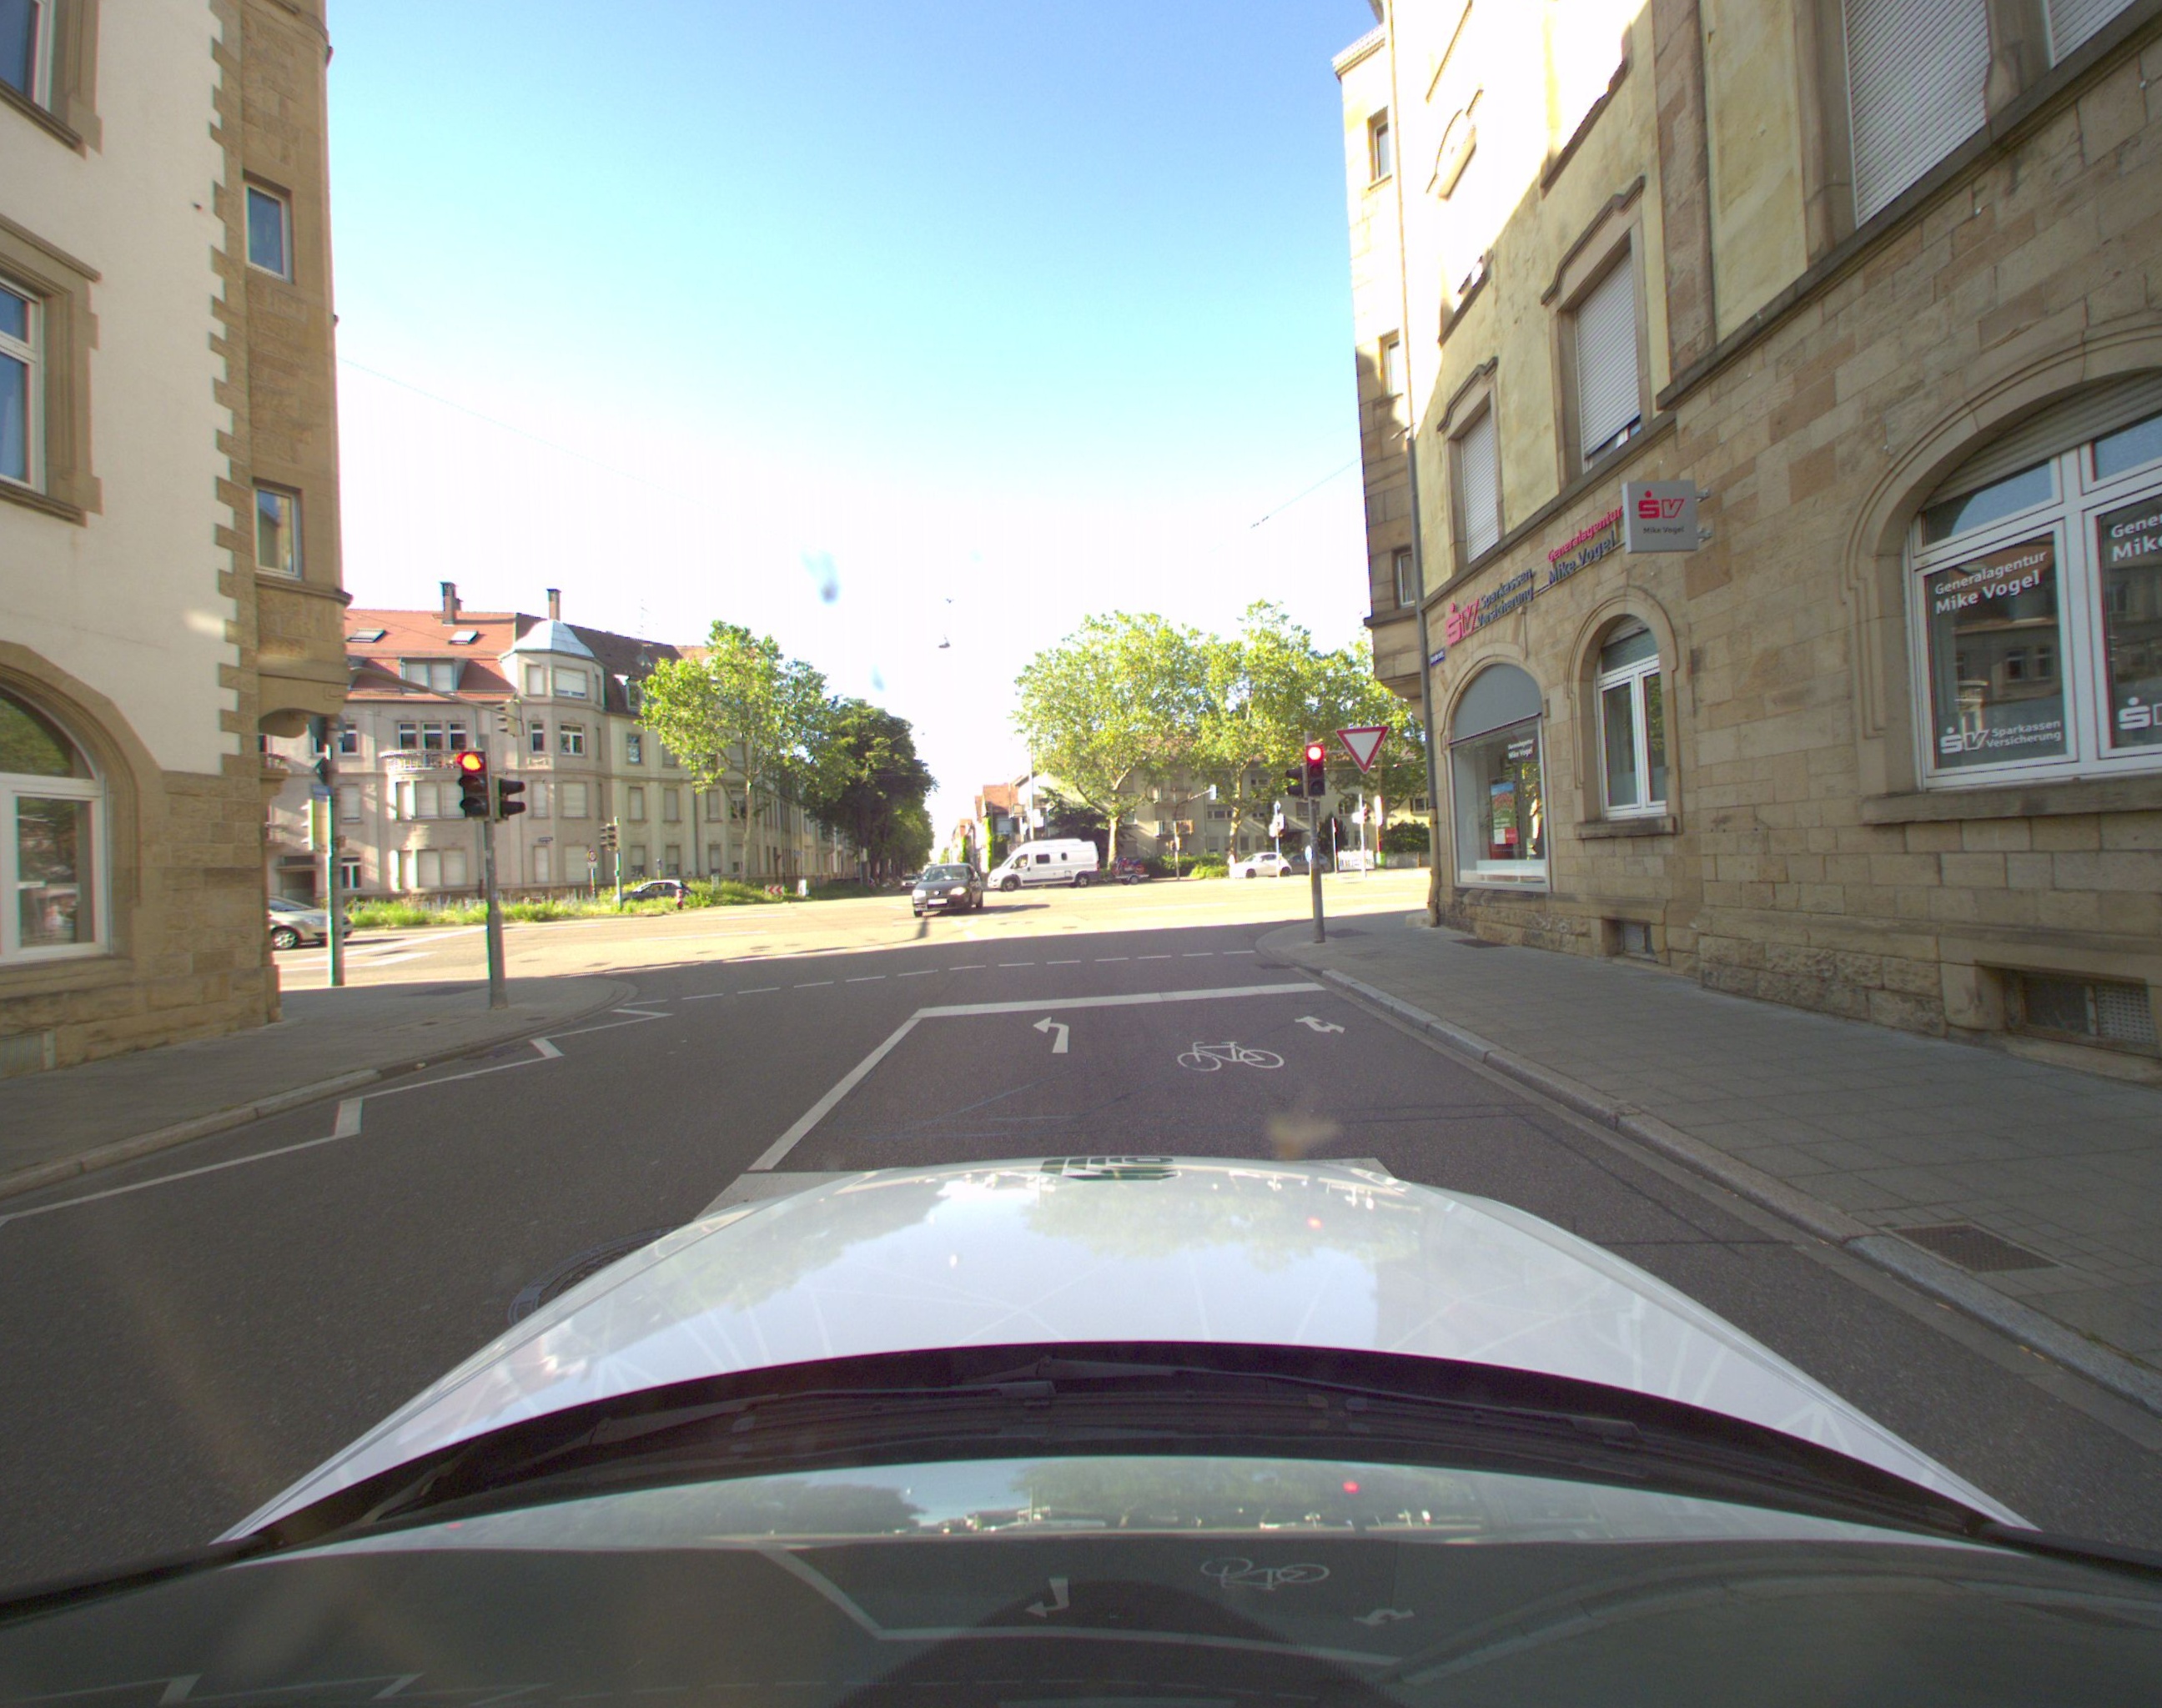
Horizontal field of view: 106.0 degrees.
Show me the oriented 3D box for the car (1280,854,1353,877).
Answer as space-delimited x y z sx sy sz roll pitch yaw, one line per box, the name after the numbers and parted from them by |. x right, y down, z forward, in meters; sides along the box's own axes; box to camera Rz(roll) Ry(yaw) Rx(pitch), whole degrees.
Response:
15.276 0.731 52.844 4.399 1.316 1.636 -2 0 -18 | car

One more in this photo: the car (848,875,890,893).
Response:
-19.428 2.744 74.891 3.636 1.457 1.650 -2 0 -14 | car

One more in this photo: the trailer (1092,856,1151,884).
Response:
2.272 0.902 45.960 2.955 1.457 1.505 -2 0 -18 | trailer

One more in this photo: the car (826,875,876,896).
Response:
-17.952 2.472 63.709 3.636 1.457 1.650 -2 0 -14 | car

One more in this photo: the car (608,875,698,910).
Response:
-21.002 1.875 40.115 3.643 1.457 1.646 -2 0 -20 | car

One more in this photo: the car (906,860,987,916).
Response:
-3.880 0.940 24.060 1.646 1.457 3.644 -2 0 1 | car

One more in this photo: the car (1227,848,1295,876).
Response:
10.605 0.479 48.114 3.641 1.457 1.494 -2 0 -18 | car

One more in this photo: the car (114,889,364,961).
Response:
-21.912 1.812 21.410 4.212 1.456 1.669 -3 0 -17 | car

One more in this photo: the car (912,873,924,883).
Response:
-26.302 3.826 131.826 1.698 1.483 3.522 -4 0 -10 | car

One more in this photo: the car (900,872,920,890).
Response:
-16.254 2.548 77.547 1.698 1.483 3.522 -4 0 -10 | car

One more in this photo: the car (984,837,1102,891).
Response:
-2.083 0.513 44.471 6.123 2.637 1.884 -2 -1 -17 | car
